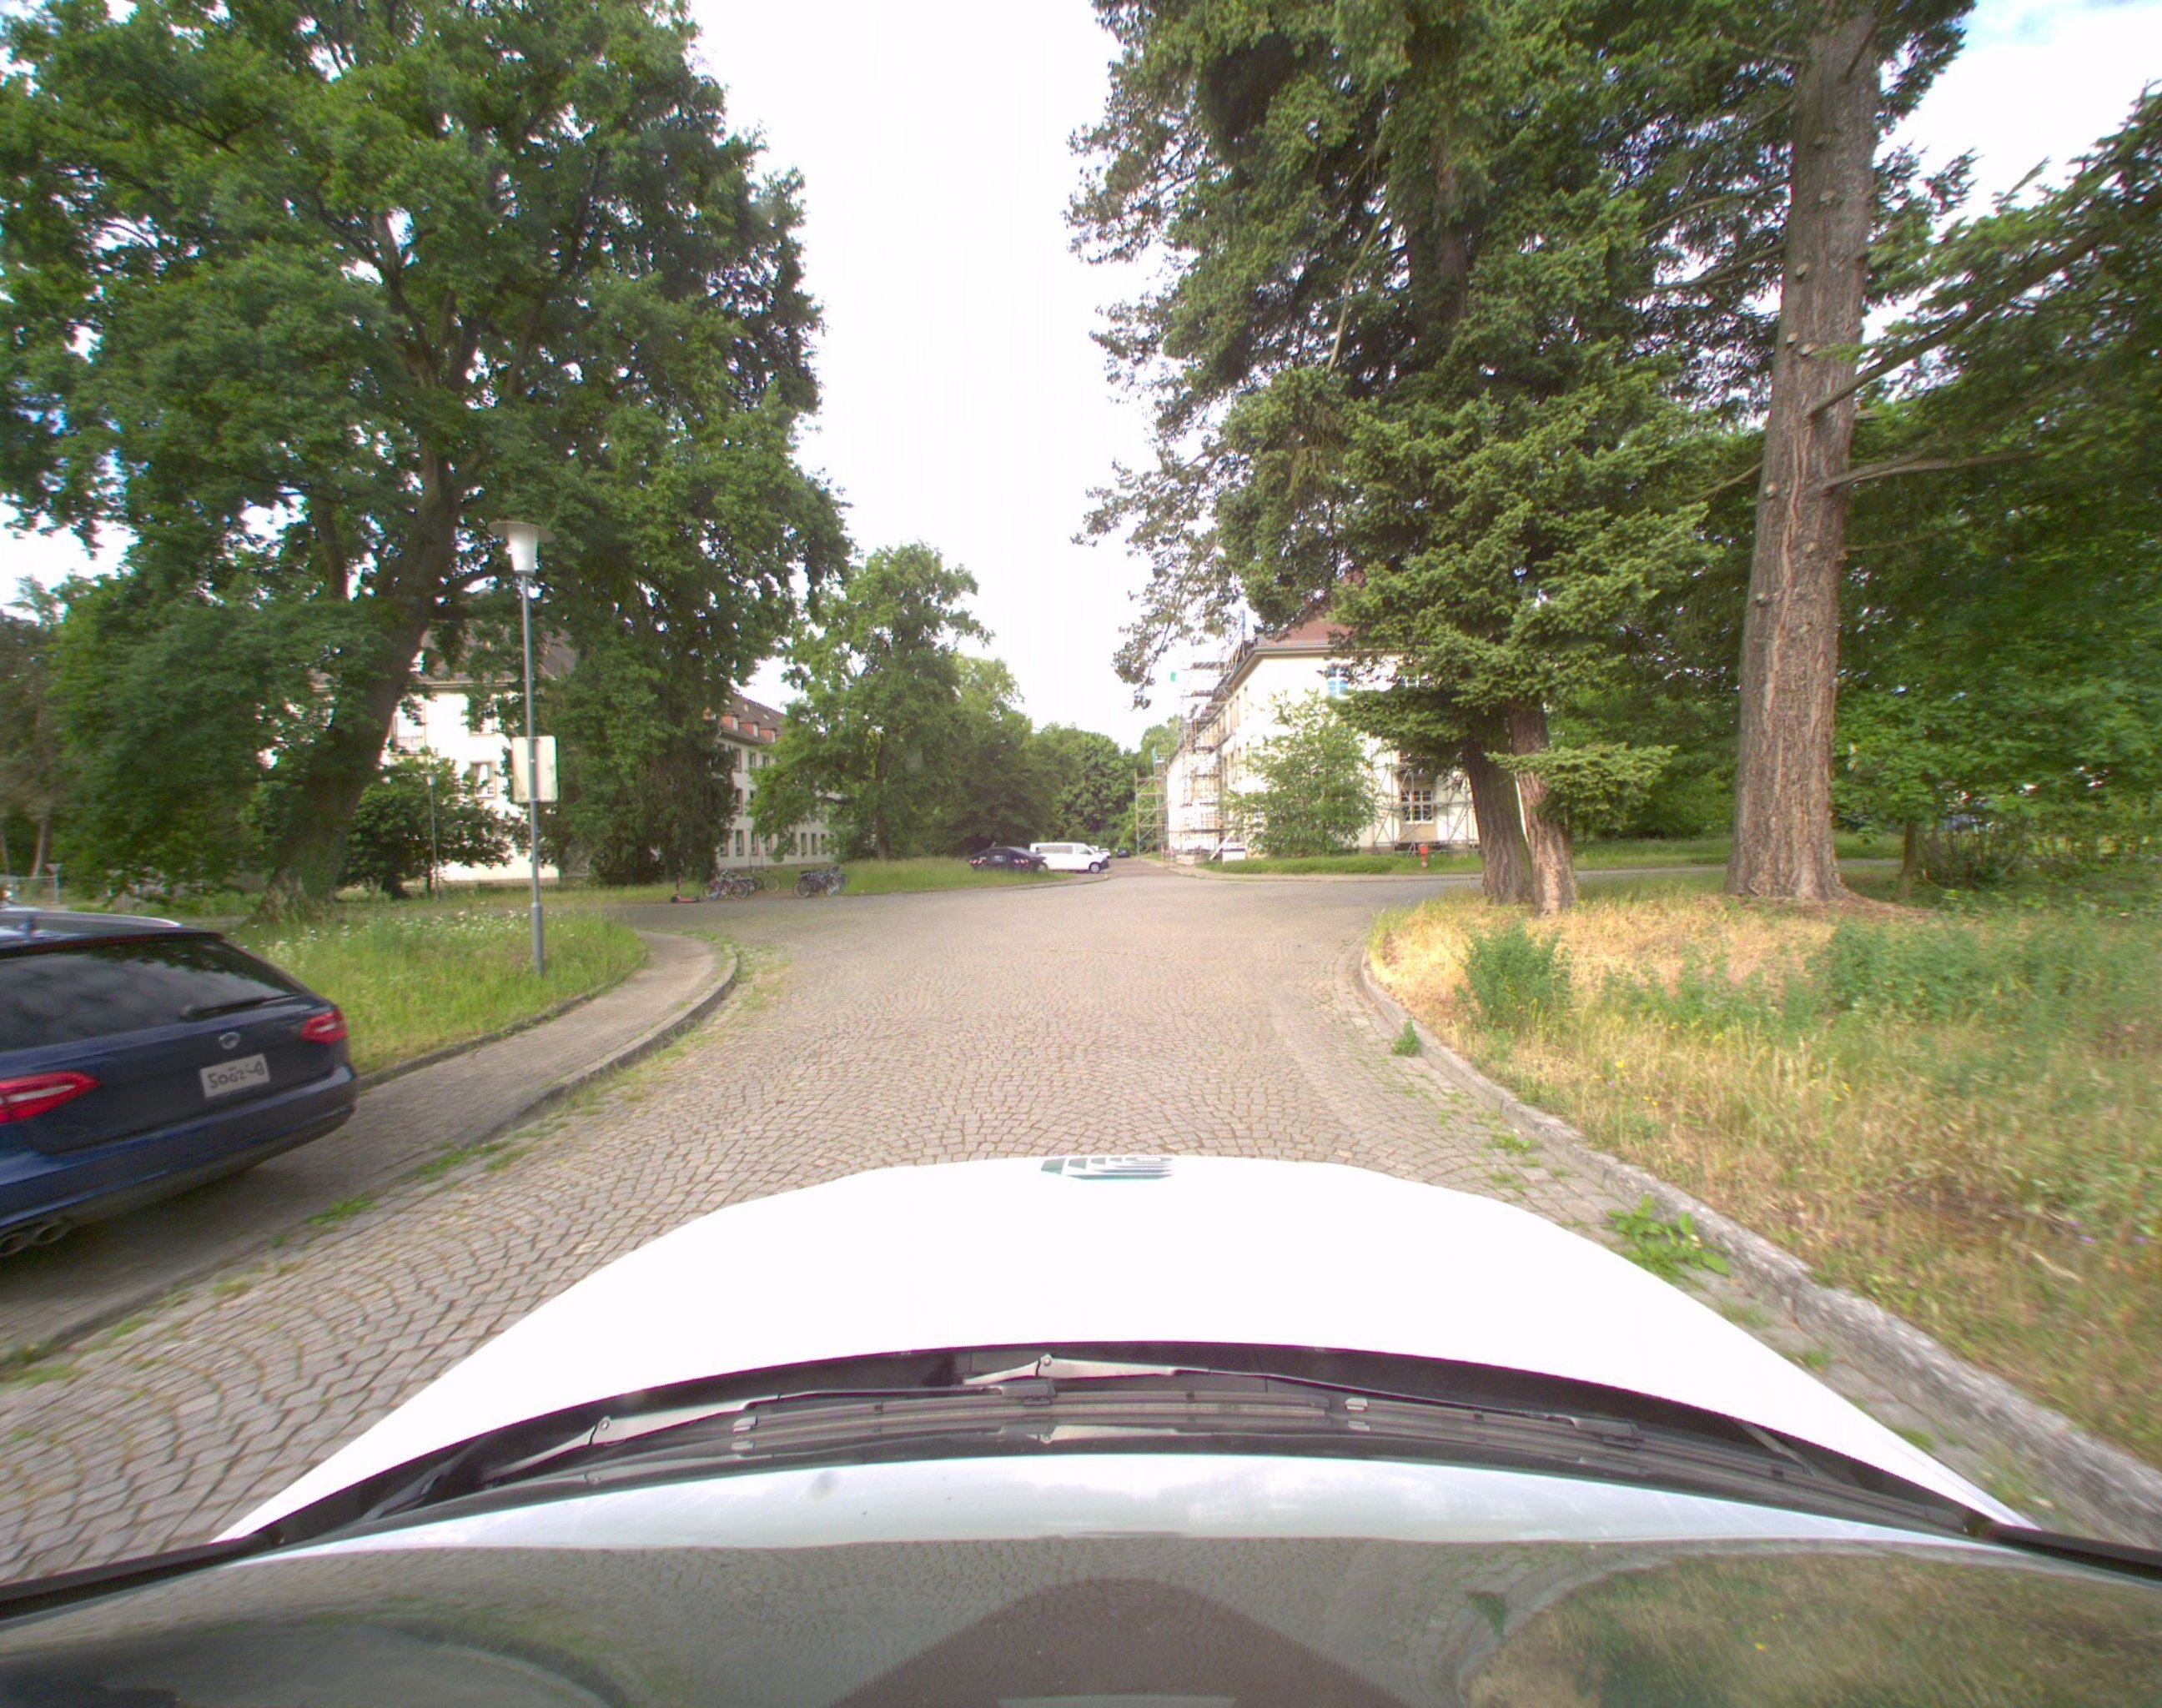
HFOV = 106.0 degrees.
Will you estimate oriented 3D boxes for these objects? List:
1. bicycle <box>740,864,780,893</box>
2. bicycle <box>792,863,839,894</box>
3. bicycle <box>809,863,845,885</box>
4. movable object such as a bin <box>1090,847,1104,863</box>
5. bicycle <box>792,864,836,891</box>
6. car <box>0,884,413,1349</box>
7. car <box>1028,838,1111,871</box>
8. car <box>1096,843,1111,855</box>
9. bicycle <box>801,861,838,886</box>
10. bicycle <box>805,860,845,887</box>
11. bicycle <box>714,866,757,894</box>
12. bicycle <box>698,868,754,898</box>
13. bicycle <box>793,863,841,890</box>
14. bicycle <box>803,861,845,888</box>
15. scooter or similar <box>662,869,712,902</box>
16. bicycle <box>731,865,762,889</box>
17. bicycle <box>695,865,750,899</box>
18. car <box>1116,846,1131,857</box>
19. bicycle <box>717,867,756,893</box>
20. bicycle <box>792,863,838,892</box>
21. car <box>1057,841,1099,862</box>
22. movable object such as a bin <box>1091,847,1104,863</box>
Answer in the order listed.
[{"bbox_3d":[-14.606,1.098,37.086,1.646,1.185,0.570,-2,2,-25],"label":"bicycle"},{"bbox_3d":[-10.963,0.999,33.656,1.772,1.103,0.698,-3,3,-18],"label":"bicycle"},{"bbox_3d":[-12.194,0.962,39.110,1.620,0.910,0.524,-3,3,-18],"label":"bicycle"},{"bbox_3d":[1.439,0.106,71.099,1.179,1.407,0.976,1,-1,2],"label":"movable object such as a bin"},{"bbox_3d":[-11.469,1.014,35.031,1.696,1.001,0.628,-3,3,-18],"label":"bicycle"},{"bbox_3d":[-5.793,0.959,3.542,4.413,1.479,1.683,-1,1,2],"label":"car"},{"bbox_3d":[-0.716,0.039,52.500,5.183,2.060,2.188,-1,0,0],"label":"car"},{"bbox_3d":[3.267,-0.704,118.430,1.996,1.548,3.956,1,0,-1],"label":"car"},{"bbox_3d":[-12.350,0.931,38.492,1.620,1.058,0.524,-3,3,-18],"label":"bicycle"},{"bbox_3d":[-11.964,0.904,38.036,1.701,1.116,0.538,-3,3,-18],"label":"bicycle"},{"bbox_3d":[-14.731,1.110,34.752,1.634,1.073,0.535,-3,2,-29],"label":"bicycle"},{"bbox_3d":[-14.432,1.177,33.163,1.990,1.114,0.640,-2,2,-18],"label":"bicycle"},{"bbox_3d":[-11.599,0.983,35.848,1.959,1.004,0.682,-3,3,-18],"label":"bicycle"},{"bbox_3d":[-11.839,0.932,37.493,1.776,1.105,0.538,-3,3,-18],"label":"bicycle"},{"bbox_3d":[-15.371,1.228,31.772,1.540,1.195,0.683,-3,1,4],"label":"scooter or similar"},{"bbox_3d":[-15.775,1.083,38.460,1.262,1.029,0.431,-3,-2,-18],"label":"bicycle"},{"bbox_3d":[-14.287,1.101,32.522,1.900,1.222,0.640,-2,2,-18],"label":"bicycle"},{"bbox_3d":[6.227,-0.376,118.560,2.054,1.593,4.004,1,0,4],"label":"car"},{"bbox_3d":[-15.281,1.126,36.089,1.520,1.035,0.540,-2,2,-29],"label":"bicycle"},{"bbox_3d":[-11.205,0.982,34.354,1.798,1.103,0.698,-3,3,-18],"label":"bicycle"},{"bbox_3d":[-0.327,-0.225,79.941,3.978,2.014,1.919,1,-1,-3],"label":"car"},{"bbox_3d":[1.460,0.108,72.308,1.179,1.407,0.976,1,-1,2],"label":"movable object such as a bin"}]
